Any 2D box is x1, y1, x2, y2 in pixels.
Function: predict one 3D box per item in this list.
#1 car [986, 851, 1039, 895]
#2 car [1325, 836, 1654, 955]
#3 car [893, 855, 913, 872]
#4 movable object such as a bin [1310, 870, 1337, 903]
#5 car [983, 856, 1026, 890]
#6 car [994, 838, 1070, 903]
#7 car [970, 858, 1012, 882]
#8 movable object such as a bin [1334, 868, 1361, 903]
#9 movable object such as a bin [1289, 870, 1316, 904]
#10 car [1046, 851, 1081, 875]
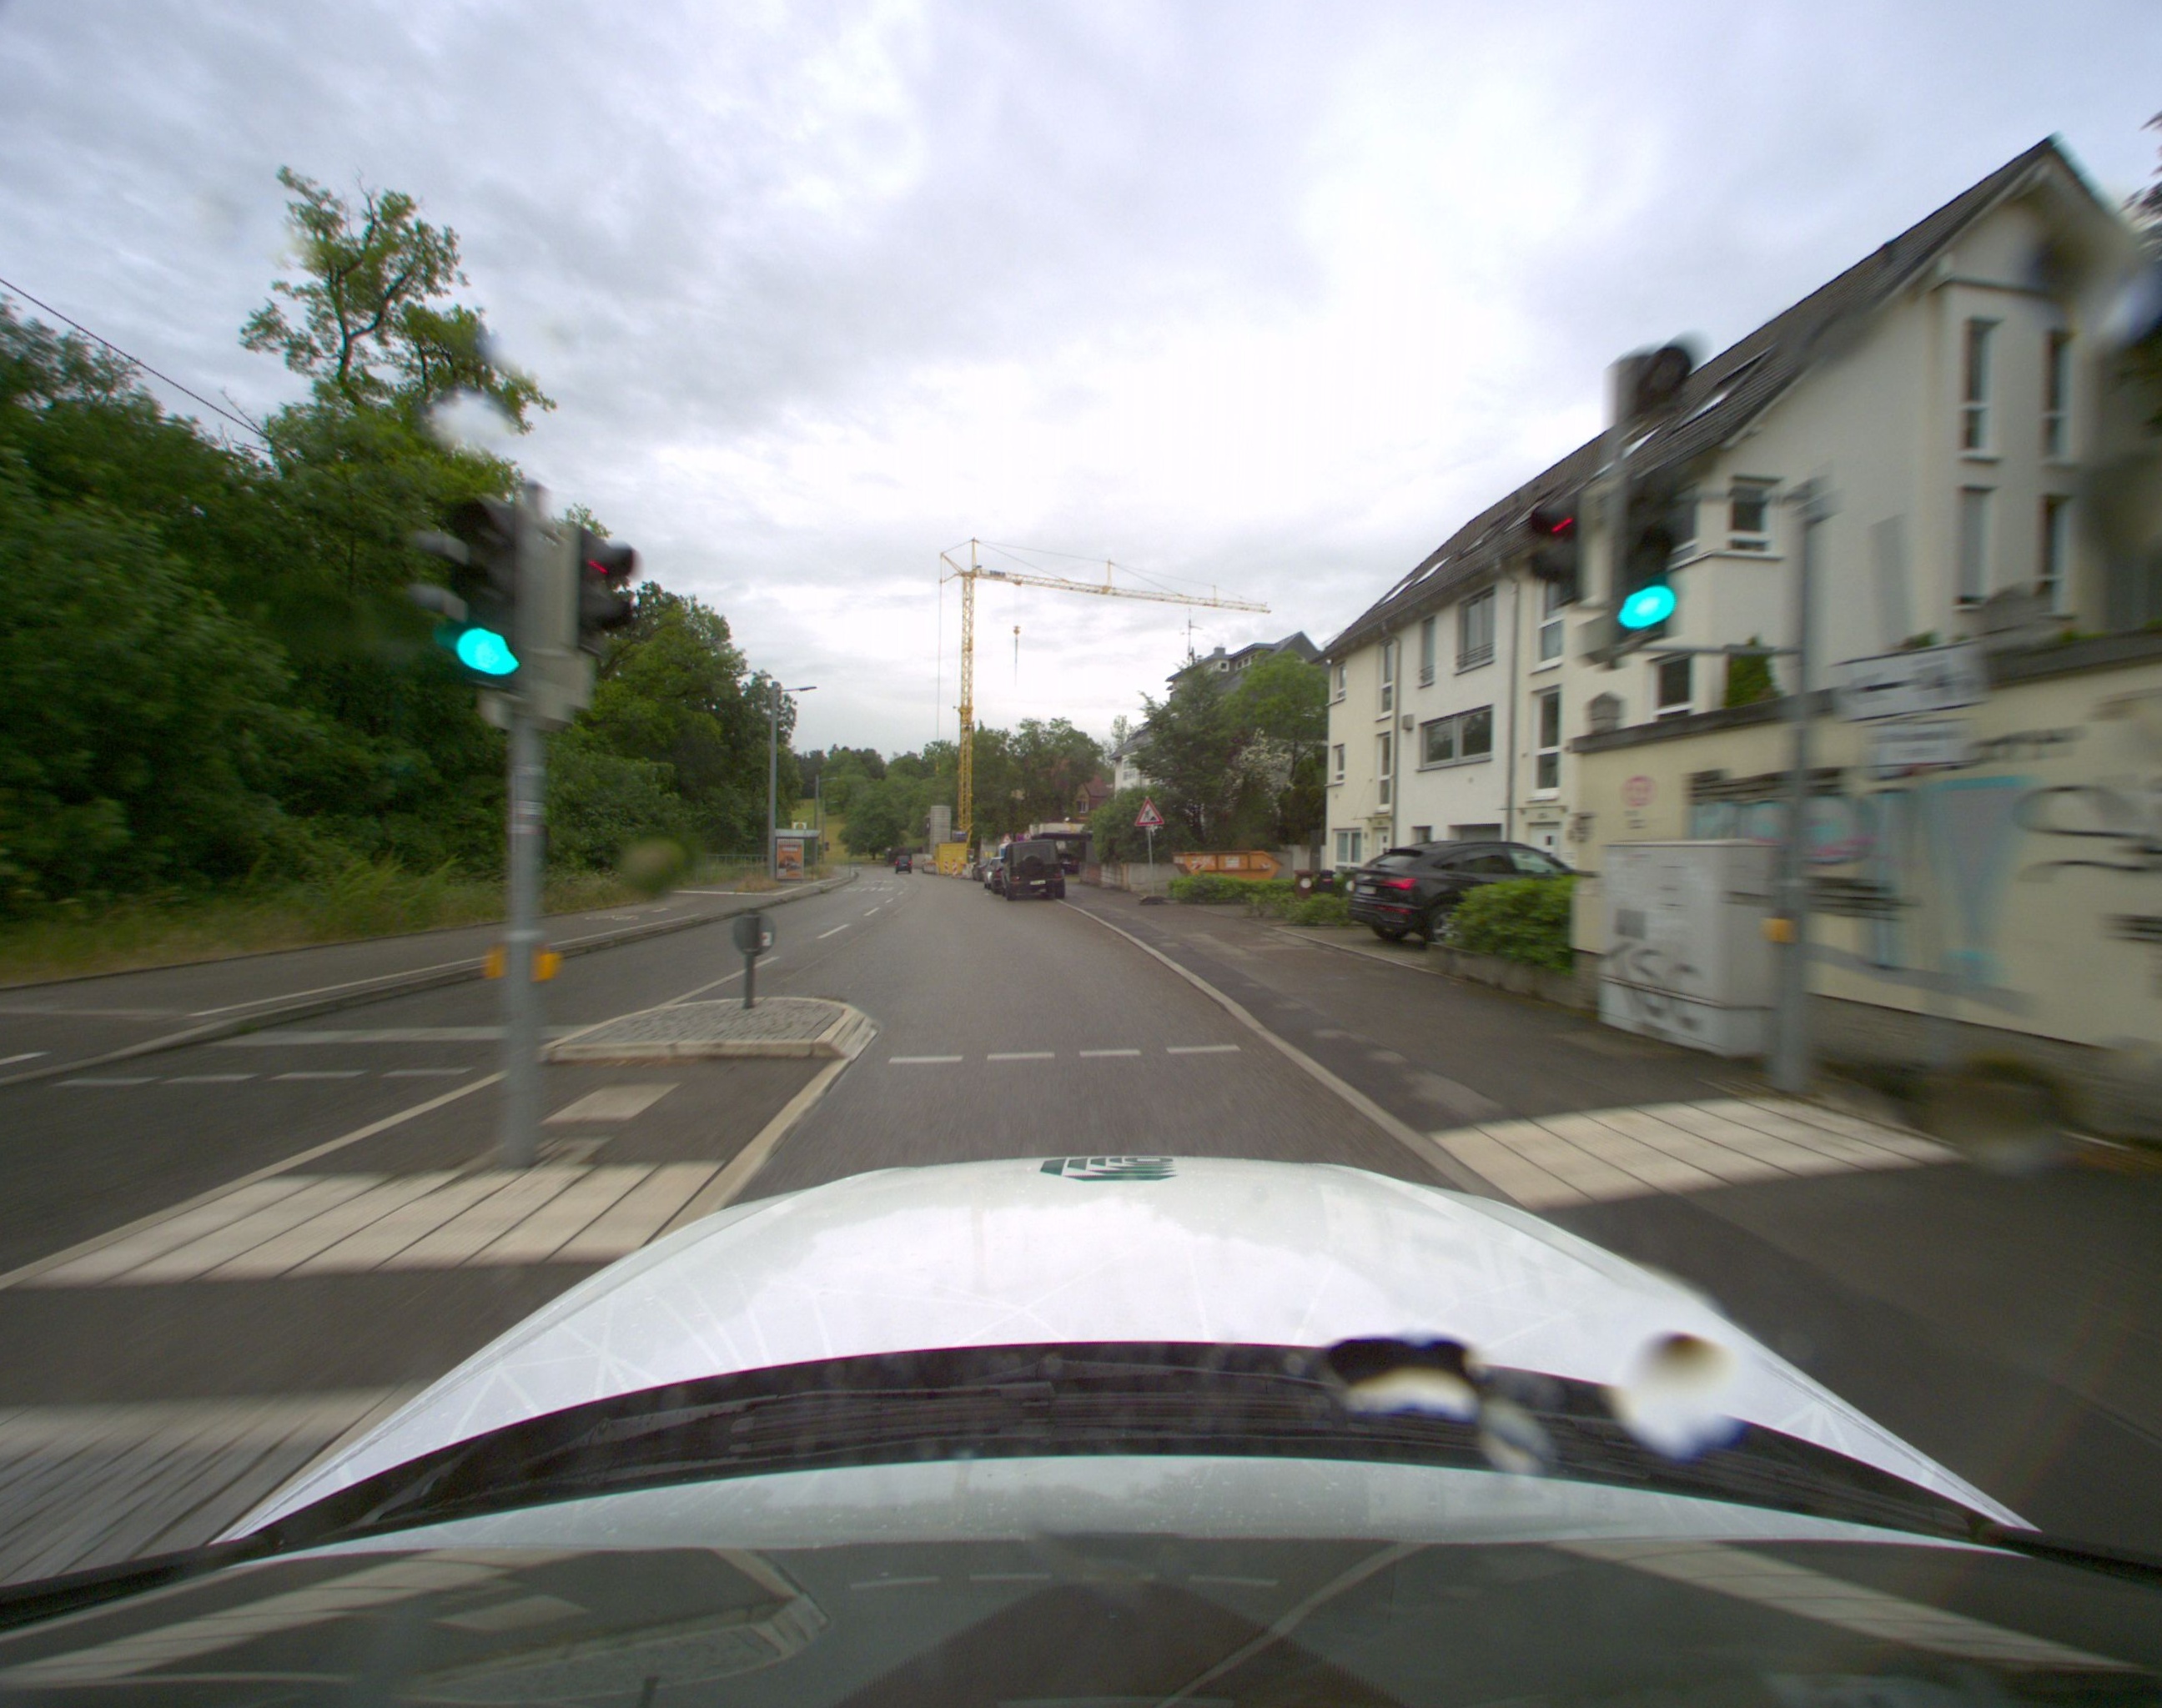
[{"bbox_3d":[-2.912,0.751,33.775,1.931,1.596,4.382,-3,0,-8],"label":"car"},{"bbox_3d":[6.386,0.643,12.993,4.325,1.596,1.986,2,-1,-8],"label":"car"},{"bbox_3d":[-19.099,1.015,87.326,1.934,1.751,3.981,-1,0,-14],"label":"car"},{"bbox_3d":[6.805,0.902,22.831,0.507,0.911,0.593,-1,0,-10],"label":"movable object such as a bin"},{"bbox_3d":[-3.600,0.843,37.891,1.673,1.457,3.373,-1,0,-11],"label":"car"},{"bbox_3d":[-1.844,0.548,28.834,1.994,2.013,4.937,-2,0,-11],"label":"car"},{"bbox_3d":[-5.773,0.955,51.809,1.935,1.422,4.812,-1,0,-15],"label":"car"},{"bbox_3d":[7.531,0.890,22.994,0.507,0.955,0.593,-1,0,-10],"label":"movable object such as a bin"},{"bbox_3d":[6.192,0.919,22.786,0.507,0.941,0.593,-1,0,-10],"label":"movable object such as a bin"},{"bbox_3d":[-1.240,0.611,55.732,1.695,1.472,3.985,3,-1,-11],"label":"car"}]
